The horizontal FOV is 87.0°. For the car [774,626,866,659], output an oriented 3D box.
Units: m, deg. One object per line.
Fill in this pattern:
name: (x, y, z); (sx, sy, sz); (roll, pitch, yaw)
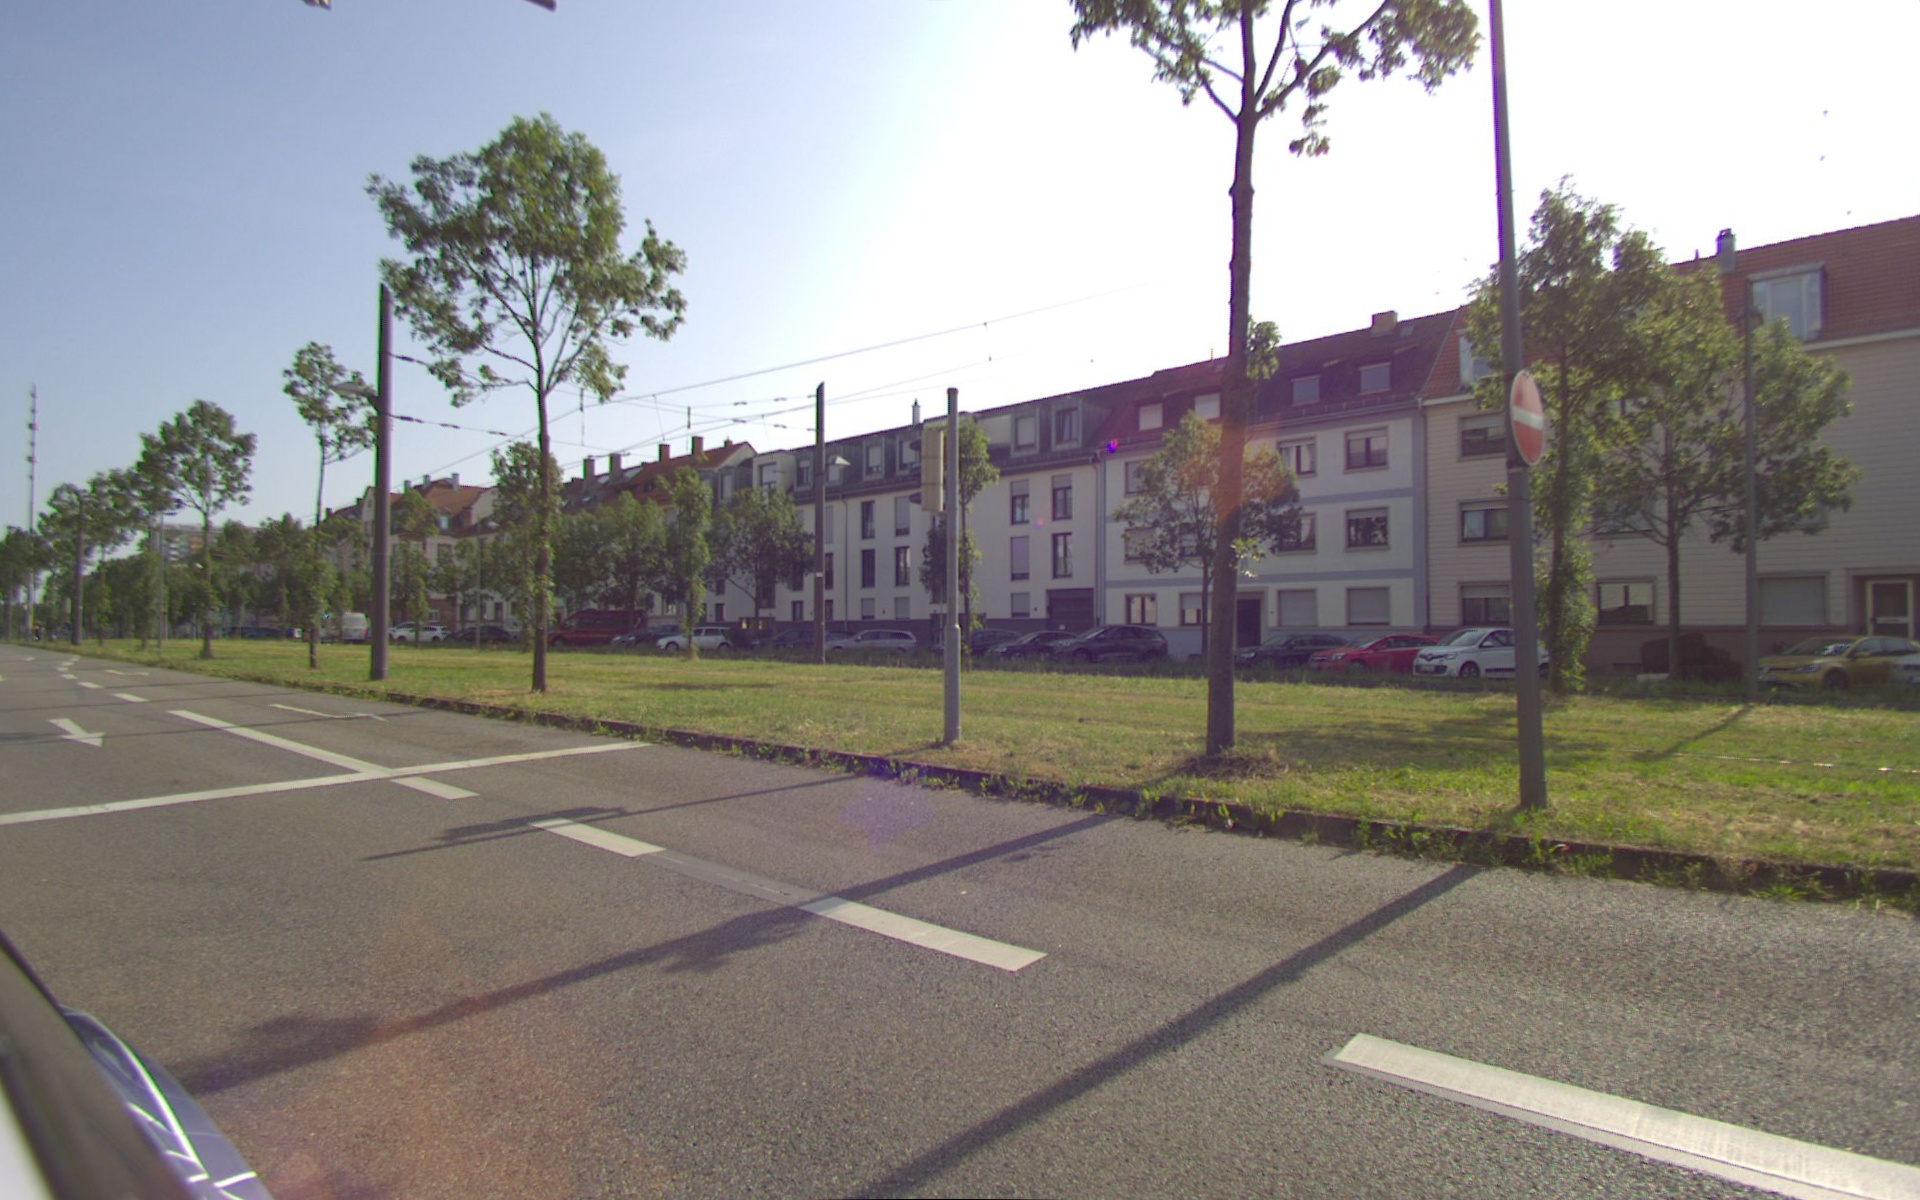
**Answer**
car: (-6.545, 1.957, 47.201); (3.931, 1.386, 1.933); (-1, 0, -20)

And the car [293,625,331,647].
car: (-54.026, 3.016, 84.347); (4.163, 1.751, 1.795); (-2, -4, 45)

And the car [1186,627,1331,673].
car: (9.158, 1.513, 31.140); (3.933, 1.244, 1.704); (-1, 0, -13)

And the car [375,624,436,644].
car: (-46.254, 2.851, 84.476); (4.033, 1.541, 1.817); (-1, 0, -9)

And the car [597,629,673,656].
car: (-18.546, 2.411, 57.892); (3.934, 1.431, 1.786); (-1, 0, -12)

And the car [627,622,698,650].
car: (-16.354, 1.970, 55.726); (3.659, 1.445, 1.646); (-1, -1, -14)

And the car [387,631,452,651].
car: (-44.037, 3.309, 82.546); (4.296, 1.486, 1.861); (-1, 0, -9)

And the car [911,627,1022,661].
car: (0.258, 1.716, 39.980); (3.930, 1.298, 2.006); (1, -2, -21)

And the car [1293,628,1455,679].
car: (11.869, 1.495, 29.085); (3.933, 1.268, 1.881); (-1, 0, -14)

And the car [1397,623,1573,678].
car: (13.976, 1.314, 27.009); (3.932, 1.279, 1.892); (-1, 0, -17)

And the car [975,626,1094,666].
car: (2.760, 1.685, 37.631); (3.931, 1.298, 2.006); (-1, 0, -21)

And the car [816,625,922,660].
car: (-4.017, 1.853, 44.707); (4.265, 1.386, 2.006); (-1, 0, -21)

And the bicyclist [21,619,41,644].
bicyclist: (-69.491, 2.368, 75.716); (0.906, 1.836, 0.861); (-1, -2, 34)

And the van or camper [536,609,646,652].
van or camper: (-22.804, 1.869, 62.805); (6.063, 2.566, 2.419); (0, -2, -9)

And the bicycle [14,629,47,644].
bicycle: (-69.563, 2.722, 75.728); (0.575, 1.154, 1.732); (-1, -2, 34)

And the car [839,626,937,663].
car: (-3.019, 1.817, 42.287); (3.715, 1.386, 1.670); (-1, 0, -21)

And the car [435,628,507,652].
car: (-35.474, 2.889, 73.556); (4.282, 1.541, 2.003); (-1, 0, -7)

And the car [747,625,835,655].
car: (-8.178, 1.924, 49.043); (3.931, 1.386, 1.841); (1, -2, -20)

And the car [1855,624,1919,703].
car: (20.722, 1.258, 20.143); (4.392, 1.526, 2.004); (0, -2, -10)

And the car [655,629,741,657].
car: (-13.826, 2.240, 53.537); (4.326, 1.330, 1.739); (-1, -1, -14)

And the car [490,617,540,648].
car: (-37.991, 2.748, 86.325); (5.580, 2.482, 1.971); (-2, -1, 45)

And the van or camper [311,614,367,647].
van or camper: (-48.954, 2.423, 79.678); (6.059, 2.493, 2.118); (-1, -4, 43)

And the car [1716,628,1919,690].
car: (19.381, 1.266, 22.347); (3.938, 1.187, 2.003); (-1, 0, -6)

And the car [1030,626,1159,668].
car: (4.734, 1.624, 35.787); (3.989, 1.298, 2.006); (-1, 0, -19)
